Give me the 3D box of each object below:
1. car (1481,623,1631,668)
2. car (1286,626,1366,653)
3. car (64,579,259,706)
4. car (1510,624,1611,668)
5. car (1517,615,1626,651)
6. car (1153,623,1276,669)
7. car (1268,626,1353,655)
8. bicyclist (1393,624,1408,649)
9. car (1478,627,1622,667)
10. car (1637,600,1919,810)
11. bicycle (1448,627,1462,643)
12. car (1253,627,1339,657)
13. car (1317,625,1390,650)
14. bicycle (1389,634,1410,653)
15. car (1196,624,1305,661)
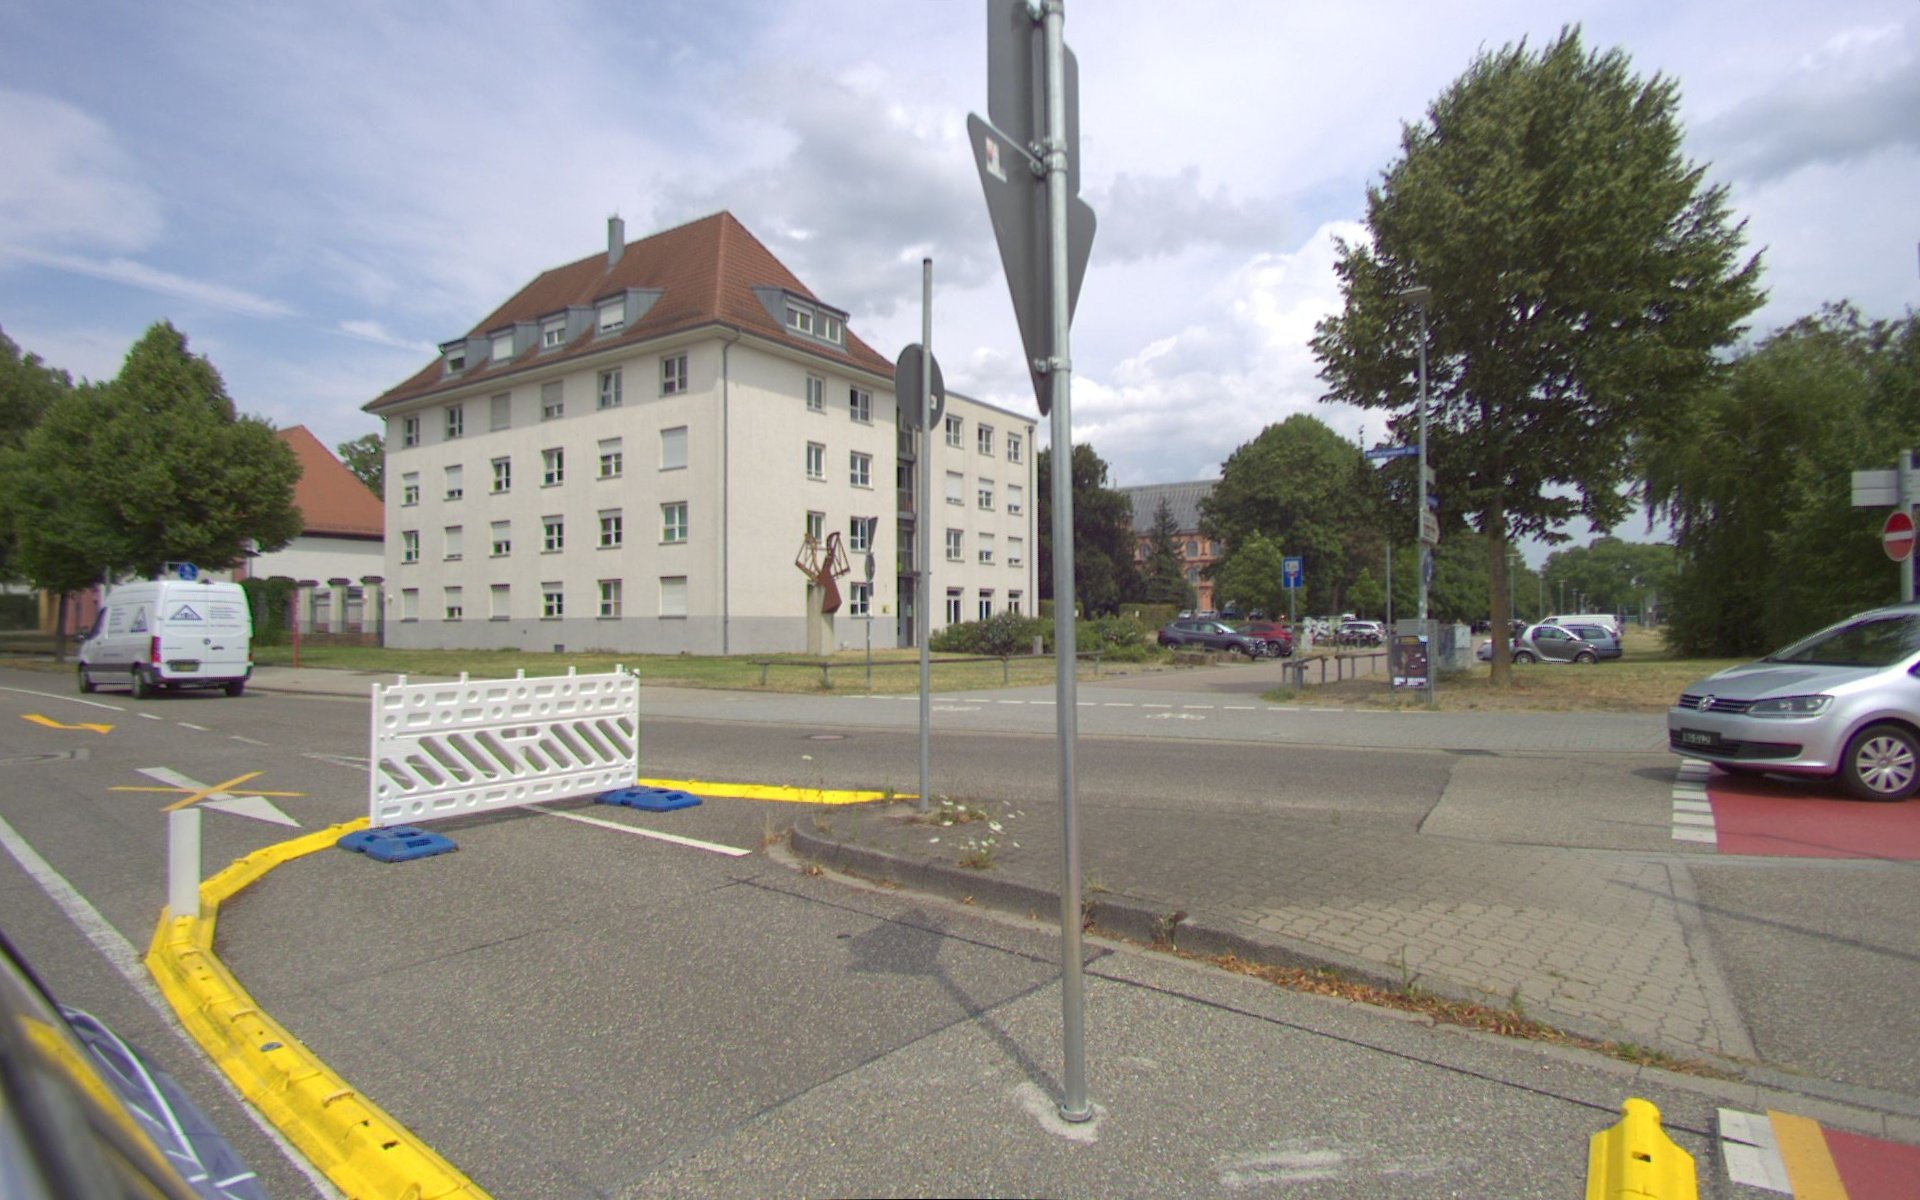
[{"bbox_3d":[22.363,1.726,38.131,4.690,1.482,1.813,-4,-3,31],"label":"car"},{"bbox_3d":[20.799,2.232,57.553,3.995,1.479,1.797,-1,-2,33],"label":"car"},{"bbox_3d":[-19.177,0.974,24.202,5.956,2.706,2.047,-1,-2,35],"label":"car"},{"bbox_3d":[21.231,1.654,35.870,2.902,1.434,1.470,-3,-4,28],"label":"car"},{"bbox_3d":[37.017,1.980,61.384,5.552,2.071,2.177,-1,-2,32],"label":"car"},{"bbox_3d":[10.375,1.830,41.410,4.487,1.778,1.978,-1,-2,33],"label":"car"},{"bbox_3d":[18.805,2.183,54.269,3.995,1.479,1.797,-2,-2,33],"label":"car"},{"bbox_3d":[25.737,2.133,59.139,0.602,1.434,0.792,-2,-2,41],"label":"bicyclist"},{"bbox_3d":[23.604,1.857,40.591,4.876,1.482,1.812,-1,-2,34],"label":"car"},{"bbox_3d":[8.842,0.825,8.685,4.687,1.635,1.799,-1,-2,5],"label":"car"},{"bbox_3d":[37.265,2.631,76.132,0.776,1.185,2.207,-1,-2,30],"label":"bicycle"},{"bbox_3d":[17.468,2.153,52.628,3.995,1.479,1.597,-1,-2,33],"label":"car"},{"bbox_3d":[24.405,2.309,62.807,3.995,1.479,1.797,-1,-2,33],"label":"car"},{"bbox_3d":[25.679,2.523,59.054,0.602,1.054,1.804,-2,-2,41],"label":"bicycle"},{"bbox_3d":[13.188,1.917,46.070,4.397,1.610,1.976,-1,-2,35],"label":"car"}]
